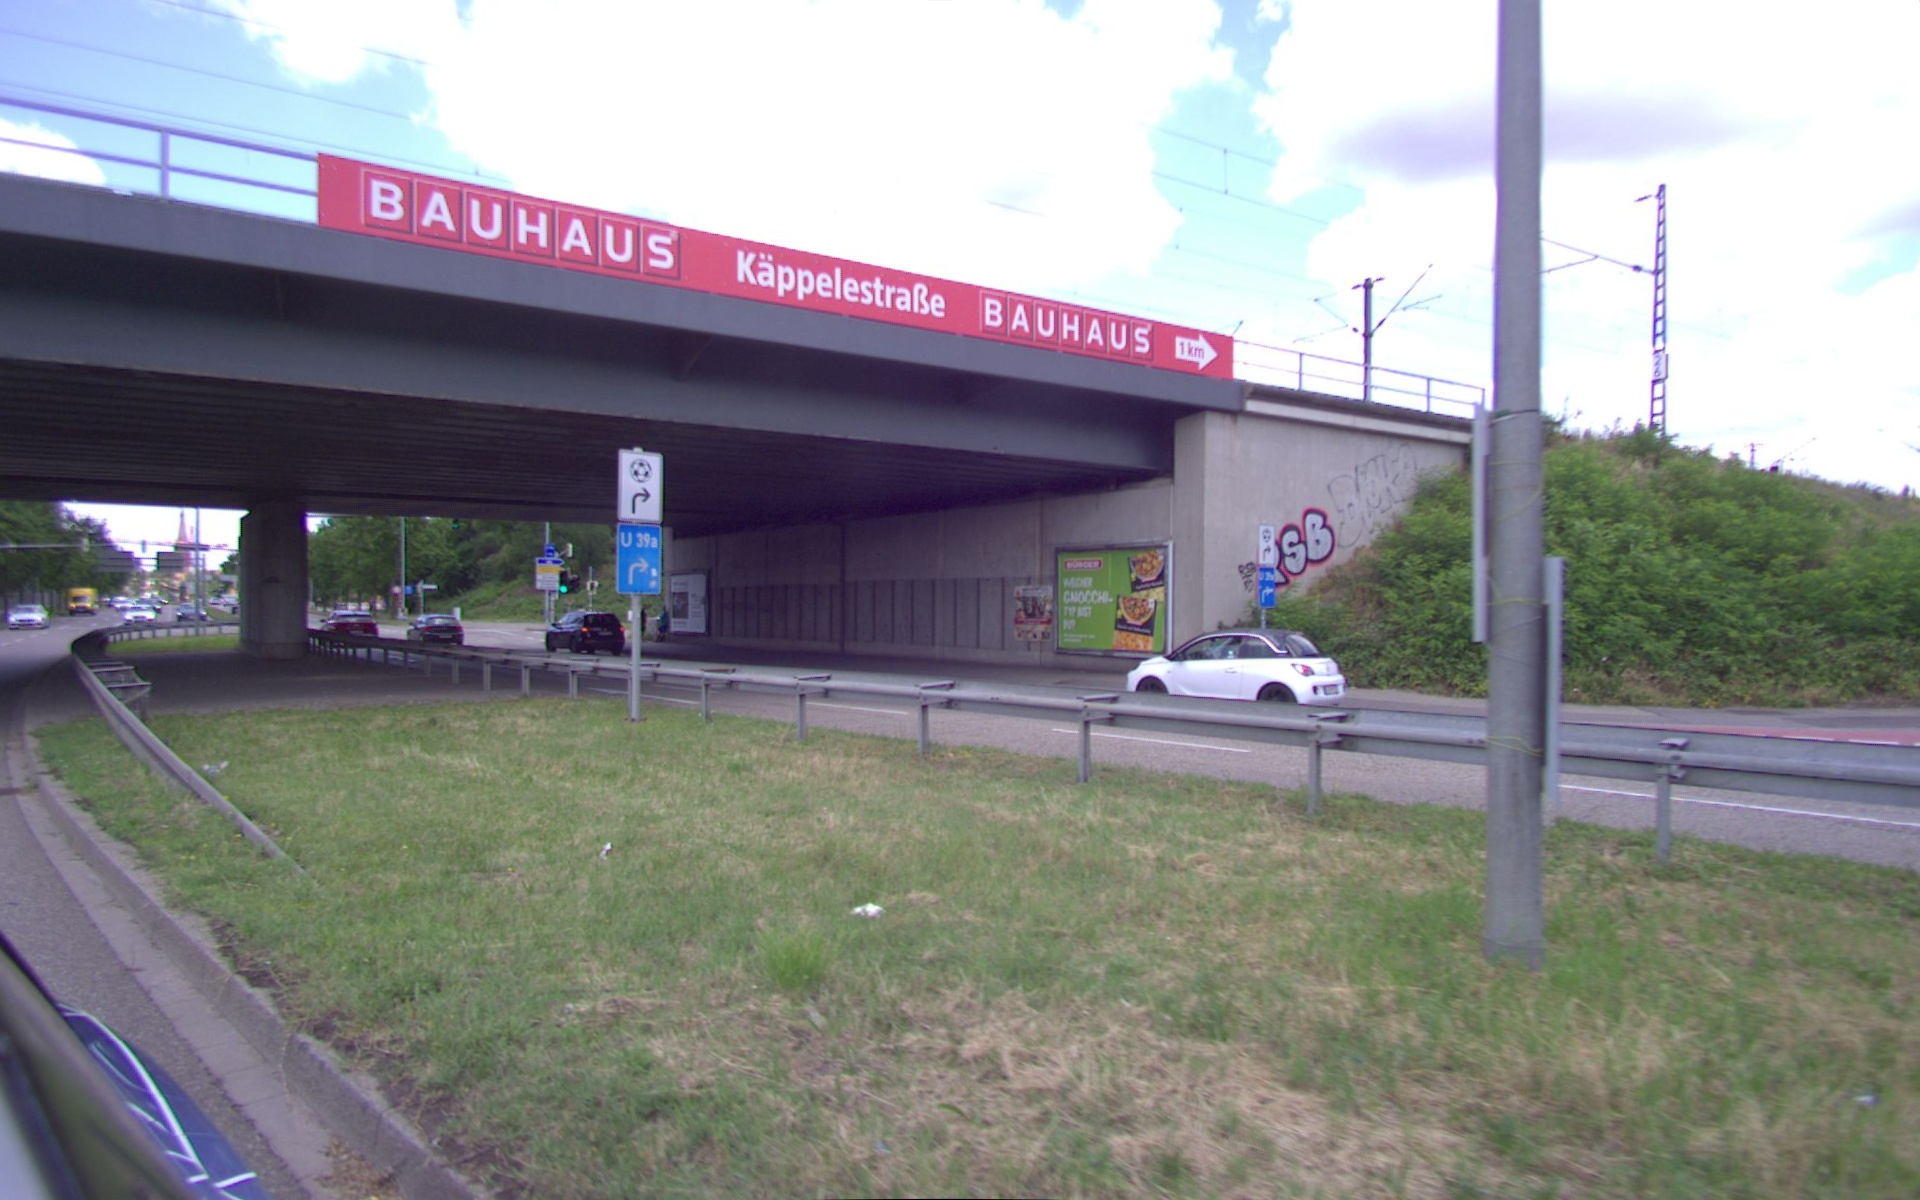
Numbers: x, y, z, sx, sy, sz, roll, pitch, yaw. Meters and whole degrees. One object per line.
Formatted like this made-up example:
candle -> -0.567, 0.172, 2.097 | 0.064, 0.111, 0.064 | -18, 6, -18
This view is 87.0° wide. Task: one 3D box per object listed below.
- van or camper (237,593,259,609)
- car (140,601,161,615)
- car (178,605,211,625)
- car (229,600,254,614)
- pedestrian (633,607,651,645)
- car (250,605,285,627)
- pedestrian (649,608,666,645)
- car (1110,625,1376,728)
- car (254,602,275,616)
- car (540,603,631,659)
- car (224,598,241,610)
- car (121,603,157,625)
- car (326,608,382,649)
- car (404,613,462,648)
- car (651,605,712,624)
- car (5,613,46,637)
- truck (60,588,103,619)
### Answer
van or camper -> -113.297, 0.139, 161.003 | 2.322, 2.559, 7.077 | -1, 0, -39
car -> -87.726, 0.844, 109.719 | 1.755, 1.507, 3.606 | 1, -1, -38
car -> -60.508, 1.163, 79.993 | 1.968, 1.426, 4.842 | -1, 1, -38
car -> -78.834, 0.762, 111.035 | 1.948, 1.400, 4.790 | 1, -1, -38
pedestrian -> -14.447, 1.179, 45.957 | 0.583, 1.693, 0.557 | 1, -1, -40
car -> -57.037, 1.298, 83.313 | 1.968, 1.772, 4.725 | 1, -1, -40
pedestrian -> -13.644, 1.179, 45.657 | 0.547, 1.637, 0.587 | 1, -1, -37
car -> 4.689, 1.190, 17.126 | 4.002, 1.522, 1.732 | -1, -2, 45
car -> -85.194, 1.134, 123.903 | 1.900, 1.541, 4.009 | 2, 0, -37
car -> -14.459, 1.131, 38.922 | 1.968, 2.029, 4.344 | 1, -1, -39
car -> -127.767, 0.739, 177.695 | 2.163, 1.979, 5.203 | 1, -1, -39
car -> -59.329, 0.994, 73.192 | 1.891, 1.425, 4.304 | -3, 2, -38
car -> -26.378, 1.196, 43.969 | 1.966, 1.688, 4.335 | 1, -1, -32
car -> -23.690, 1.323, 45.408 | 1.921, 1.384, 4.011 | -1, 1, -33
car -> -21.870, 1.139, 79.505 | 4.249, 1.389, 2.006 | 1, 0, -32
car -> -61.748, 1.637, 66.926 | 1.687, 1.507, 3.658 | 1, -1, -38
truck -> -91.935, 0.394, 106.003 | 3.019, 3.136, 7.951 | 1, -1, -38
